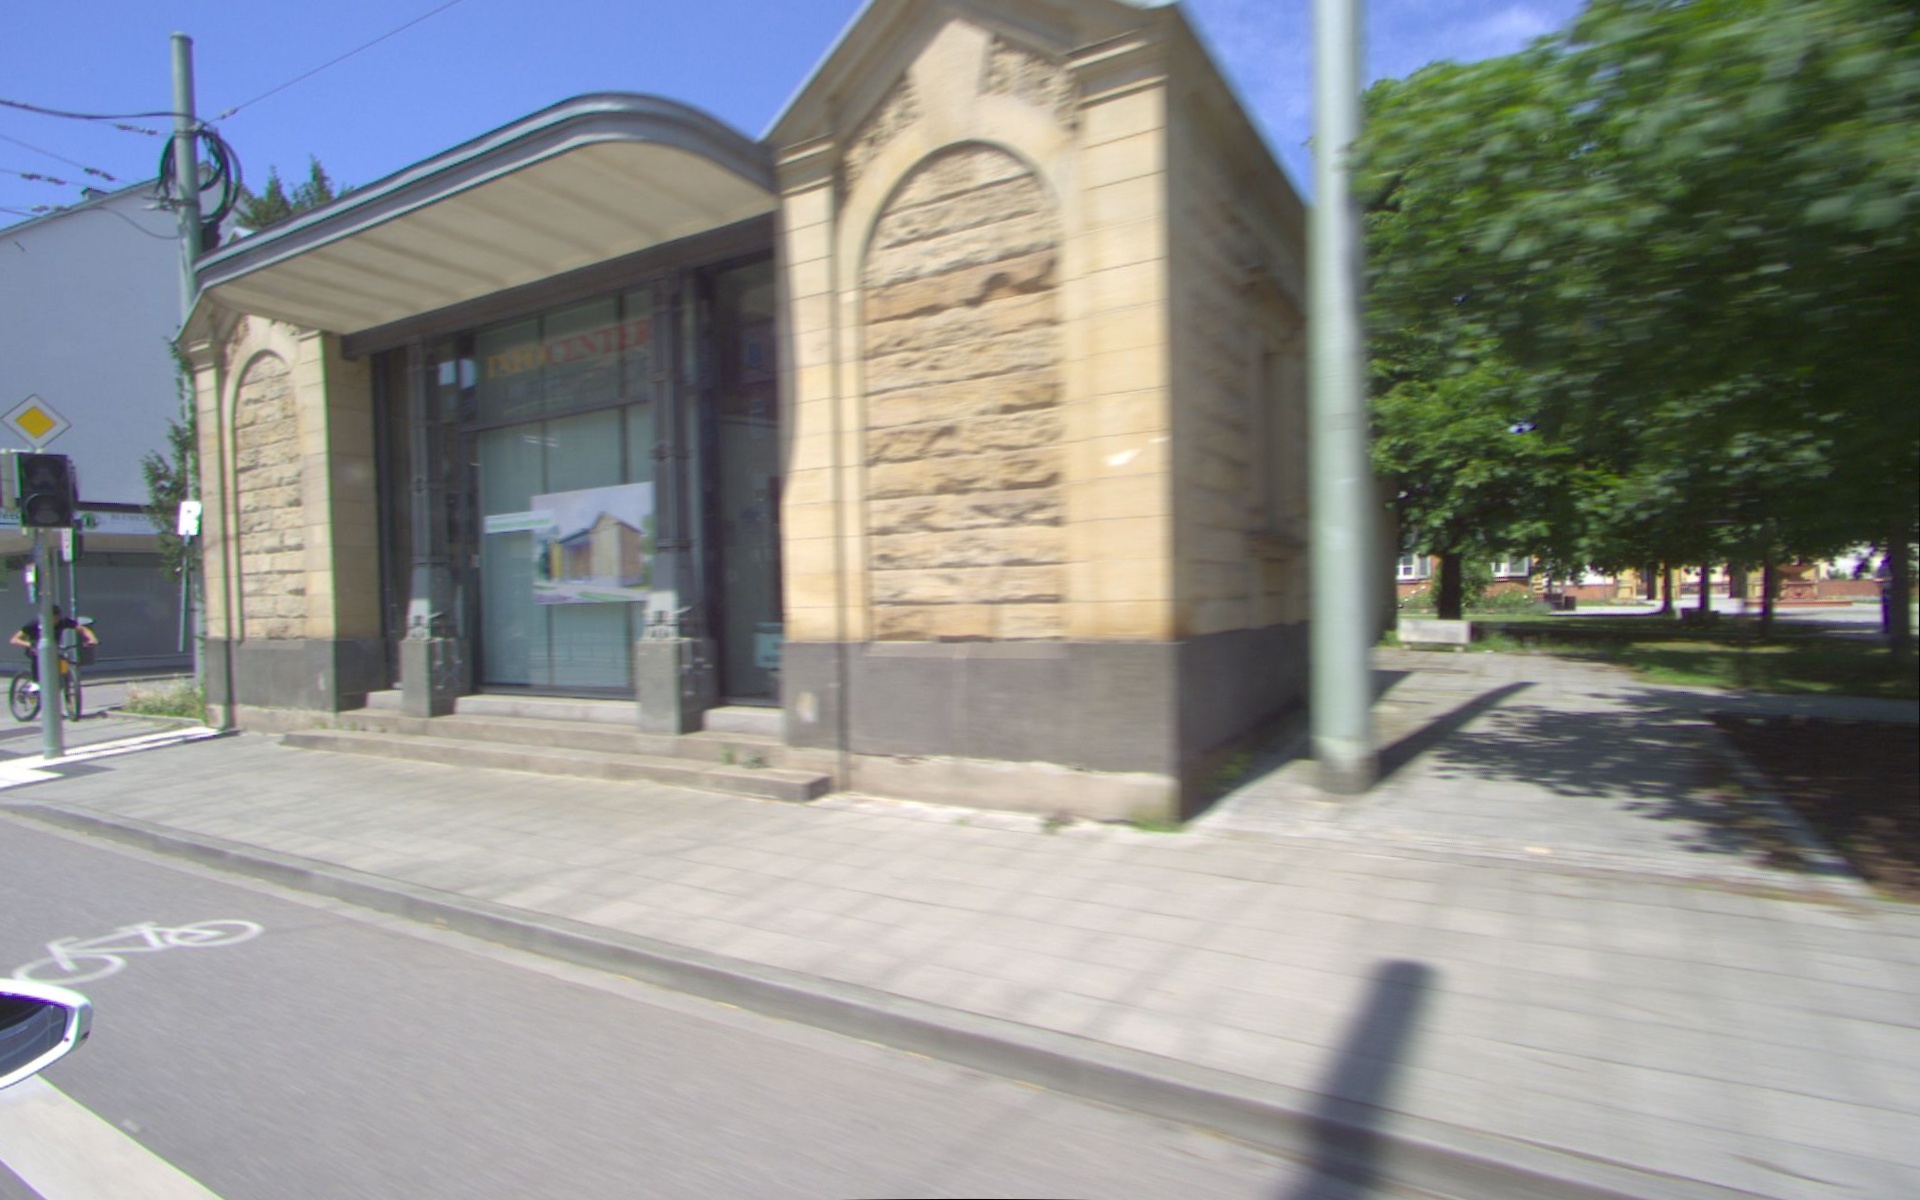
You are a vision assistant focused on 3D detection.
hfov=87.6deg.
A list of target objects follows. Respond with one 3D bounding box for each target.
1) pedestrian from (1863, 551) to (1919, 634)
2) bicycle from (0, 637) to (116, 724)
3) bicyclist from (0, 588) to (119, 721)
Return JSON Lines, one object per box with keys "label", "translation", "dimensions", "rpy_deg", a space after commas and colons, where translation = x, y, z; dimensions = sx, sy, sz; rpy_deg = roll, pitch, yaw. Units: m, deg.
{"label": "pedestrian", "translation": [20.845, -0.164, 22.418], "dimensions": [0.757, 1.817, 0.771], "rpy_deg": [-1, 1, 29]}
{"label": "bicycle", "translation": [-12.097, 1.034, 13.265], "dimensions": [1.834, 1.017, 0.667], "rpy_deg": [-1, 5, 28]}
{"label": "bicyclist", "translation": [-12.014, 0.707, 13.330], "dimensions": [0.846, 1.641, 0.831], "rpy_deg": [-1, 6, 27]}
